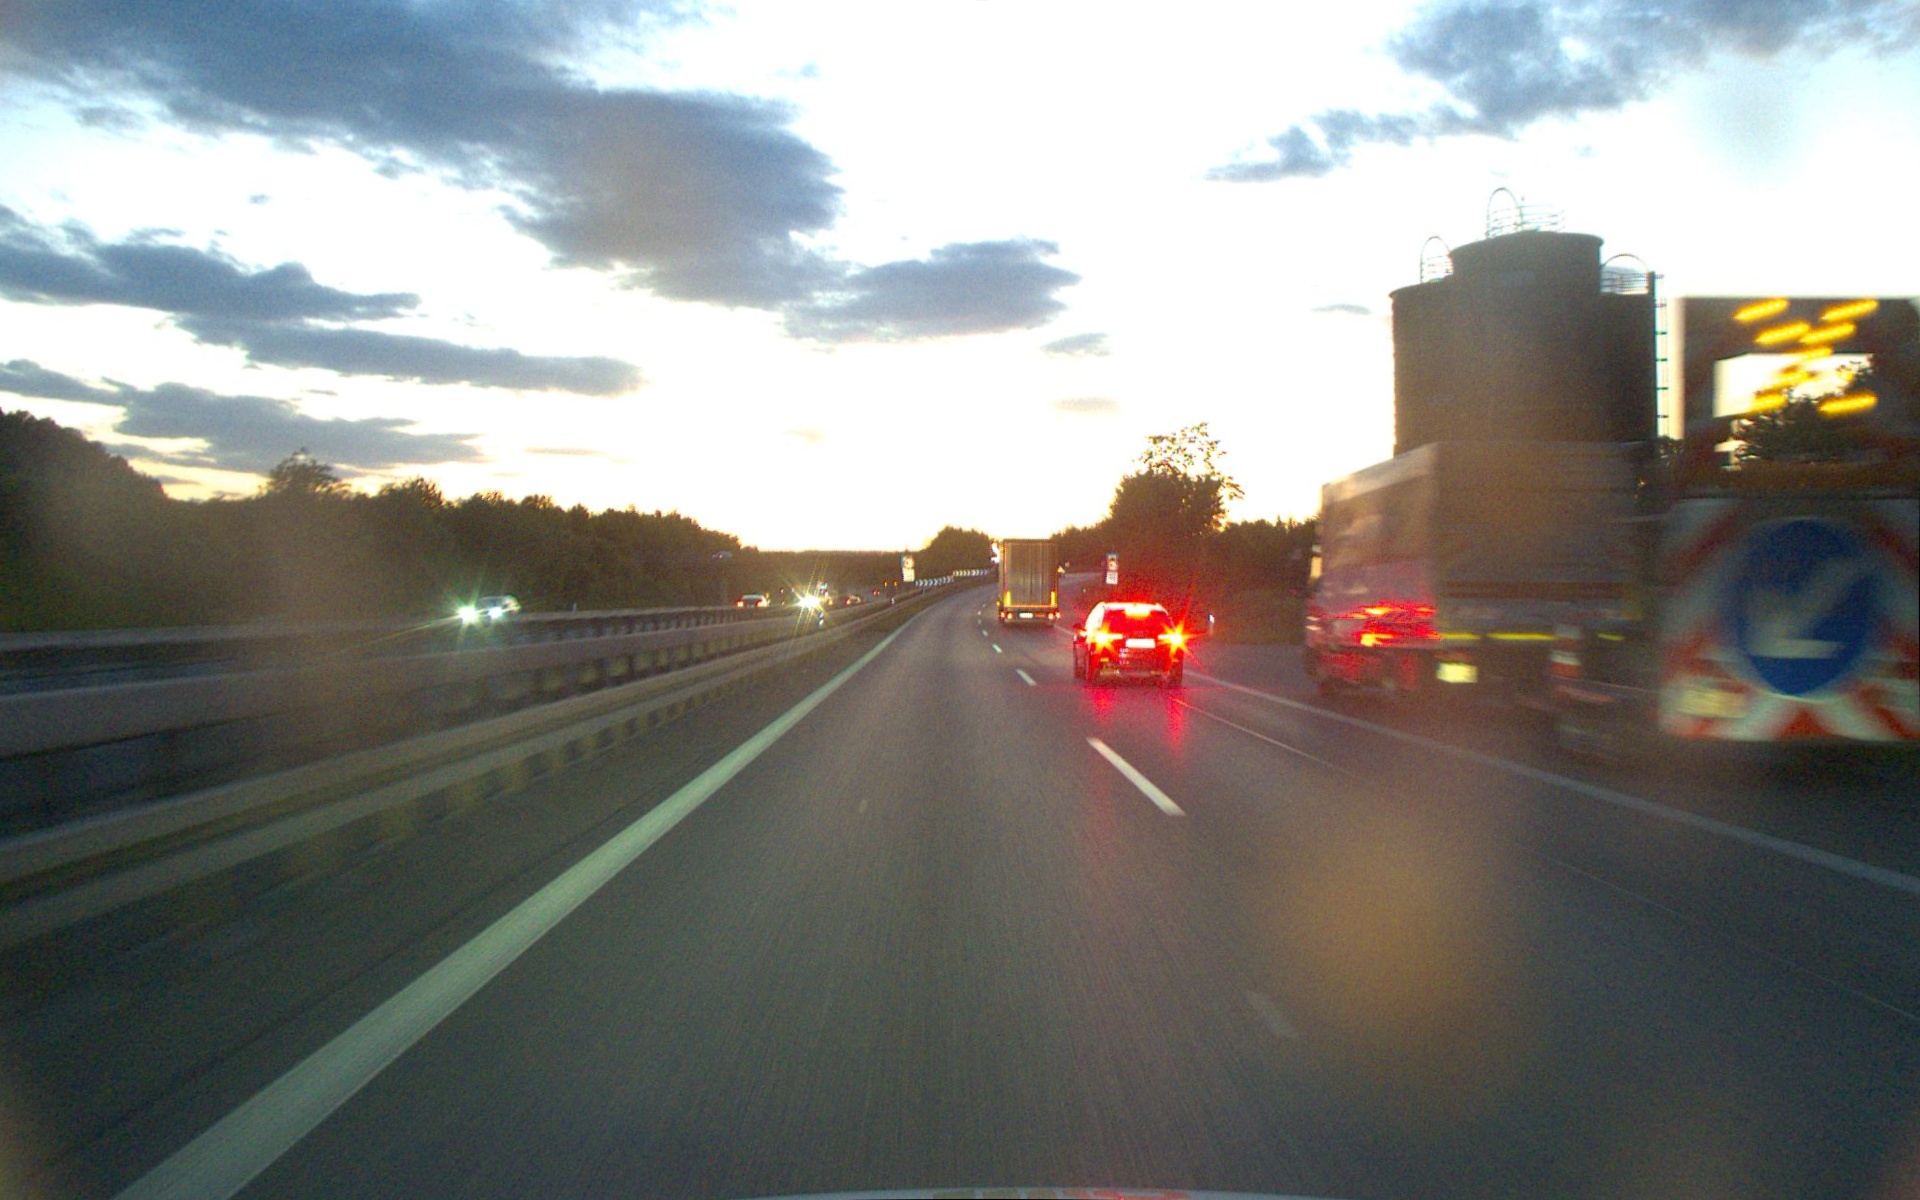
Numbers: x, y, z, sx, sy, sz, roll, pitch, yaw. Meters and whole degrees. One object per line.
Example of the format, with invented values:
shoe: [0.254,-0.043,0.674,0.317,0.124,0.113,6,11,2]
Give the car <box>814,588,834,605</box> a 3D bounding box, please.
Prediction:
car: [-13.633,-0.314,165.816,1.678,1.633,3.721,-2,0,-1]

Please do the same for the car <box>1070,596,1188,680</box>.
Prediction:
car: [3.122,0.666,31.242,1.875,1.467,4.000,0,0,1]

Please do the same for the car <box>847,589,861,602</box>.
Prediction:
car: [-13.450,-0.569,210.207,1.604,1.573,3.395,-2,0,0]

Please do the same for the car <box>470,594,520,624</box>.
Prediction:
car: [-24.733,0.470,88.017,1.634,1.520,3.673,0,0,-1]

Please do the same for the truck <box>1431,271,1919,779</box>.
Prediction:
truck: [7.087,-0.640,16.702,2.731,4.129,6.410,0,0,-1]

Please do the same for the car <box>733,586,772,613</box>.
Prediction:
car: [-12.705,-0.037,101.645,1.834,1.588,4.519,-2,0,-1]

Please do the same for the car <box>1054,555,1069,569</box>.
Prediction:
car: [15.004,-5.627,244.959,1.862,2.049,3.860,0,0,-1]

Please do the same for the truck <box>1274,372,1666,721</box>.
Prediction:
truck: [7.016,-0.670,24.497,2.854,4.183,9.148,0,0,-1]

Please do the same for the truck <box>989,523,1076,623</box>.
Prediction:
truck: [3.367,-1.220,79.360,3.439,4.376,9.889,-2,0,-1]
